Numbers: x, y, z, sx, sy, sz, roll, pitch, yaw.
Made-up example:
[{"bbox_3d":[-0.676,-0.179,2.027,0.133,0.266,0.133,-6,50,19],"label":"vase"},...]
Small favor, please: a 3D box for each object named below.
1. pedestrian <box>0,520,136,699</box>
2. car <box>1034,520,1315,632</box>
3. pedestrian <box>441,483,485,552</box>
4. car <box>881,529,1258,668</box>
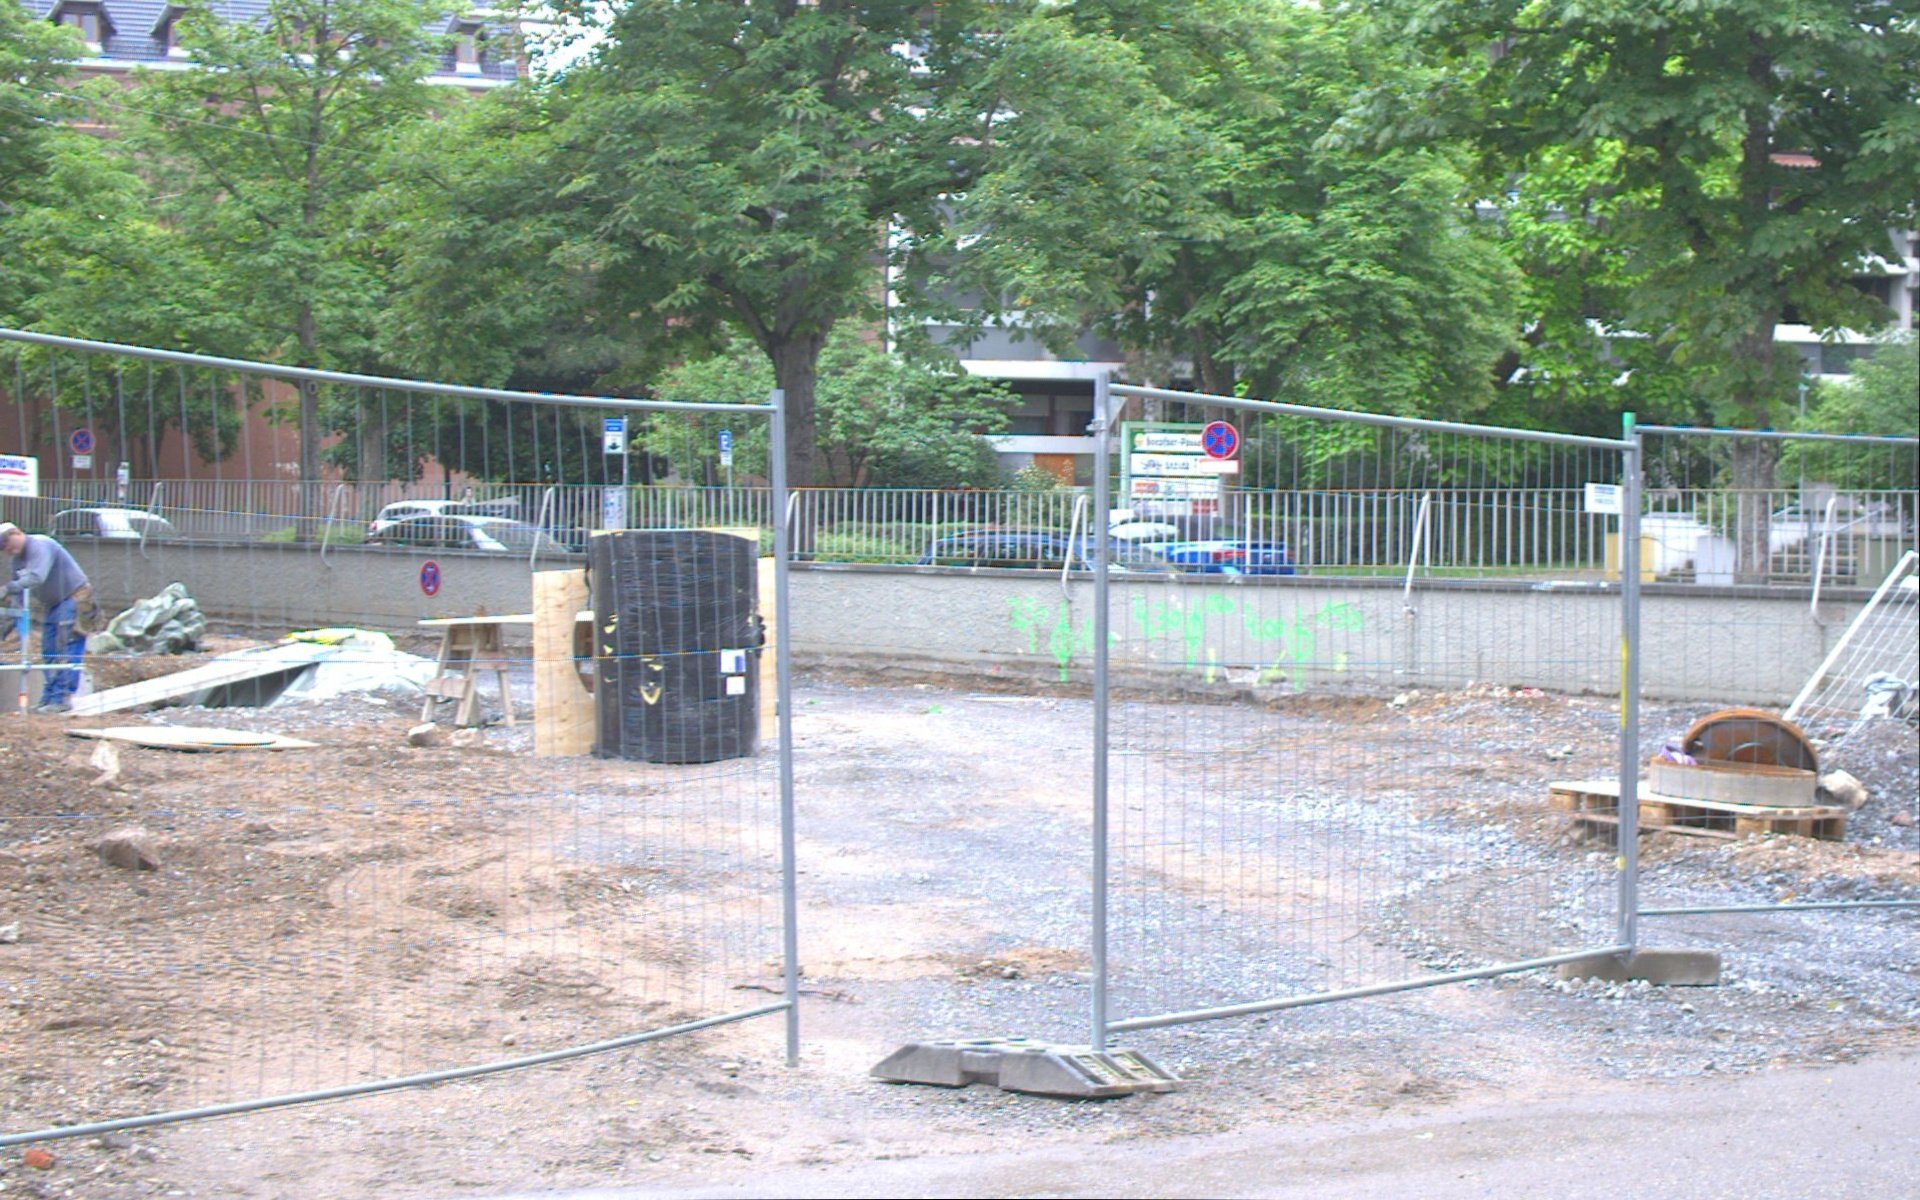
[{"bbox_3d":[-7.452,0.069,28.203,0.930,1.433,0.980,1,1,42],"label":"pedestrian"},{"bbox_3d":[3.042,-0.374,49.334,1.598,1.514,3.998,-1,2,-44],"label":"car"},{"bbox_3d":[-11.198,-1.857,77.505,0.522,1.522,0.842,2,2,34],"label":"pedestrian"},{"bbox_3d":[1.160,-0.048,37.933,1.828,1.413,3.998,-1,2,-44],"label":"car"}]
